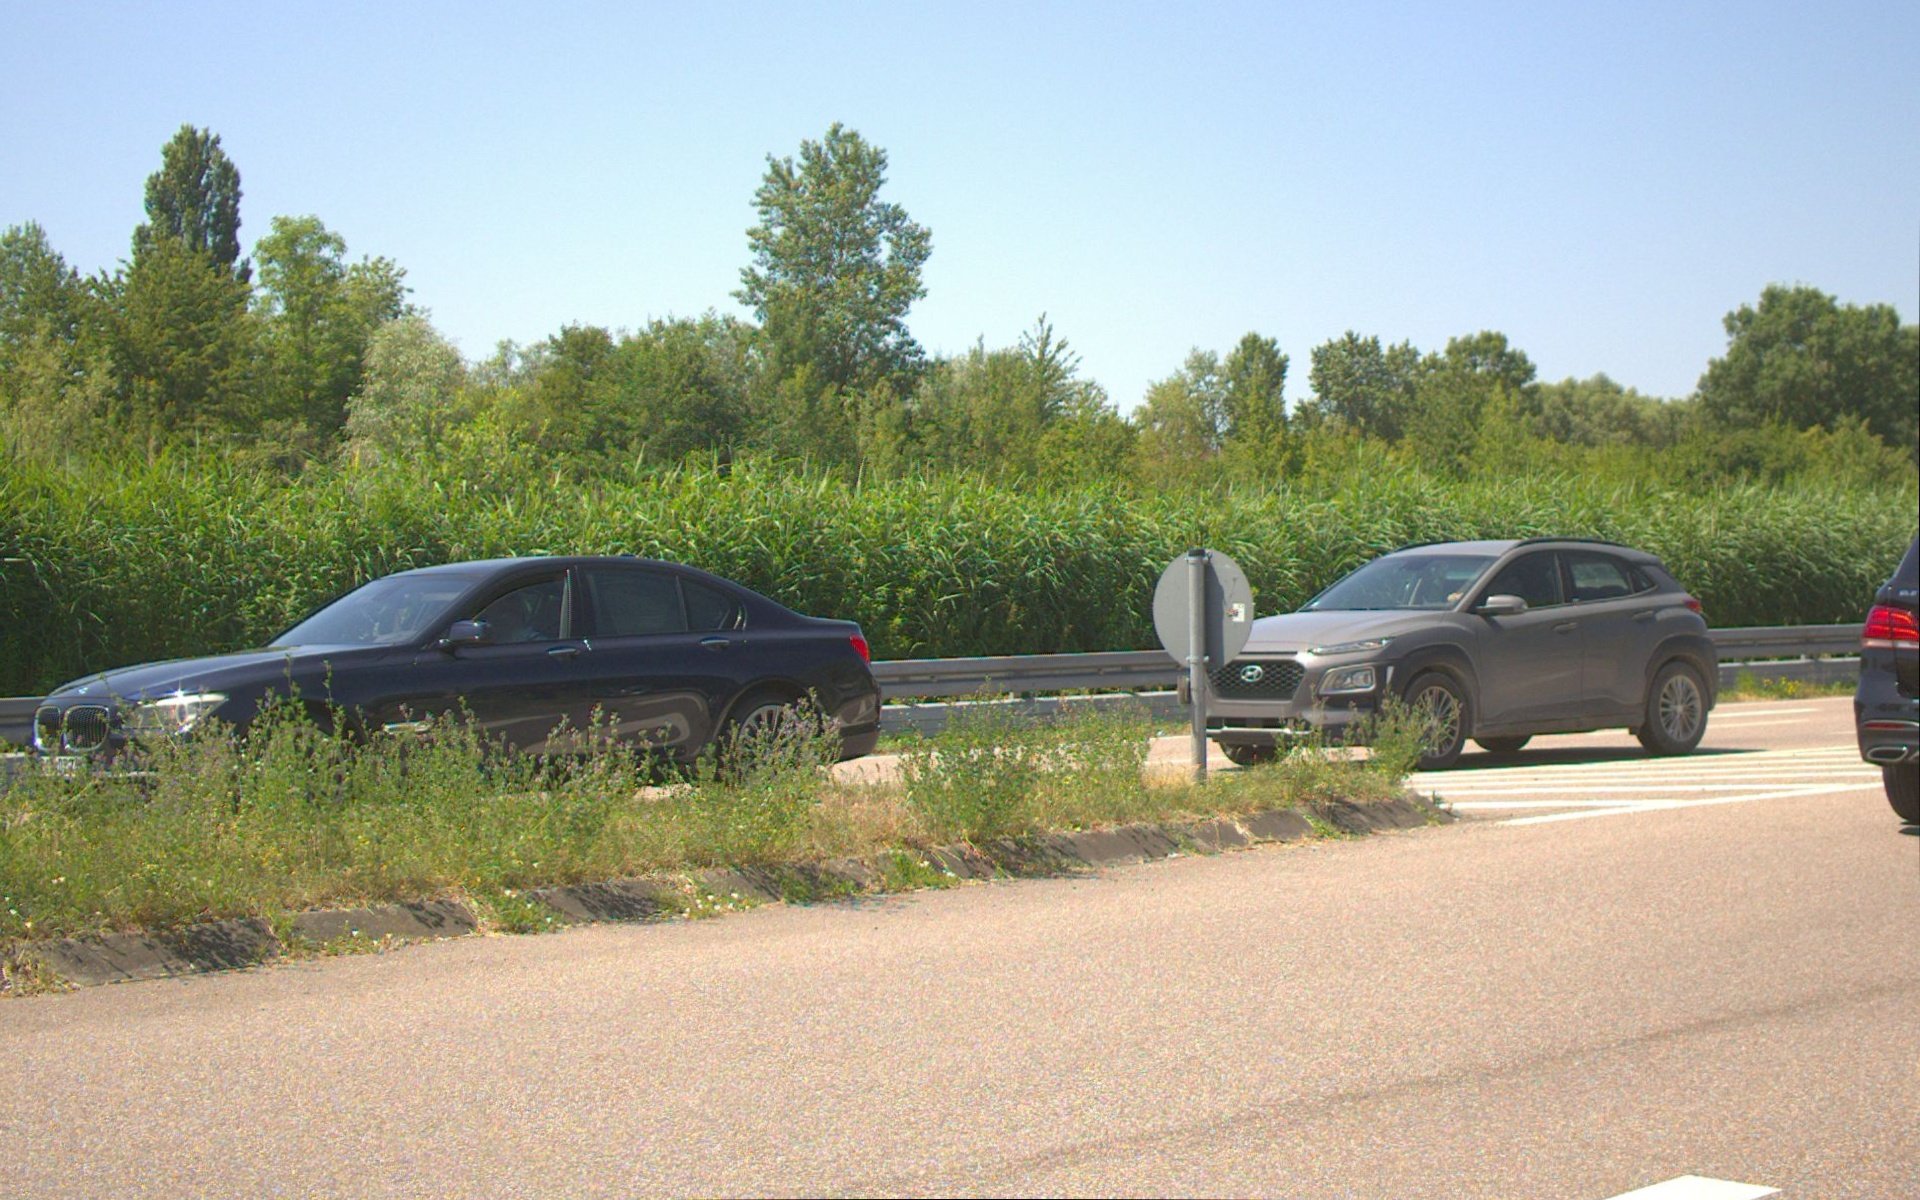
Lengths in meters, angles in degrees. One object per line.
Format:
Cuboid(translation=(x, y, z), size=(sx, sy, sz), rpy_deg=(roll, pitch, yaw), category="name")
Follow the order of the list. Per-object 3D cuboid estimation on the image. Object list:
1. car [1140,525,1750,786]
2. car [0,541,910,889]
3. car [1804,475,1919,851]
Cuboid(translation=(3.468, 0.328, 24.154), size=(4.226, 1.626, 1.933), rpy_deg=(-2, 1, -41), category="car")
Cuboid(translation=(-2.799, 0.533, 19.090), size=(4.927, 1.626, 1.933), rpy_deg=(-2, 1, -41), category="car")
Cuboid(translation=(6.268, 0.278, 17.596), size=(1.932, 1.762, 4.586), rpy_deg=(1, 1, 40), category="car")
